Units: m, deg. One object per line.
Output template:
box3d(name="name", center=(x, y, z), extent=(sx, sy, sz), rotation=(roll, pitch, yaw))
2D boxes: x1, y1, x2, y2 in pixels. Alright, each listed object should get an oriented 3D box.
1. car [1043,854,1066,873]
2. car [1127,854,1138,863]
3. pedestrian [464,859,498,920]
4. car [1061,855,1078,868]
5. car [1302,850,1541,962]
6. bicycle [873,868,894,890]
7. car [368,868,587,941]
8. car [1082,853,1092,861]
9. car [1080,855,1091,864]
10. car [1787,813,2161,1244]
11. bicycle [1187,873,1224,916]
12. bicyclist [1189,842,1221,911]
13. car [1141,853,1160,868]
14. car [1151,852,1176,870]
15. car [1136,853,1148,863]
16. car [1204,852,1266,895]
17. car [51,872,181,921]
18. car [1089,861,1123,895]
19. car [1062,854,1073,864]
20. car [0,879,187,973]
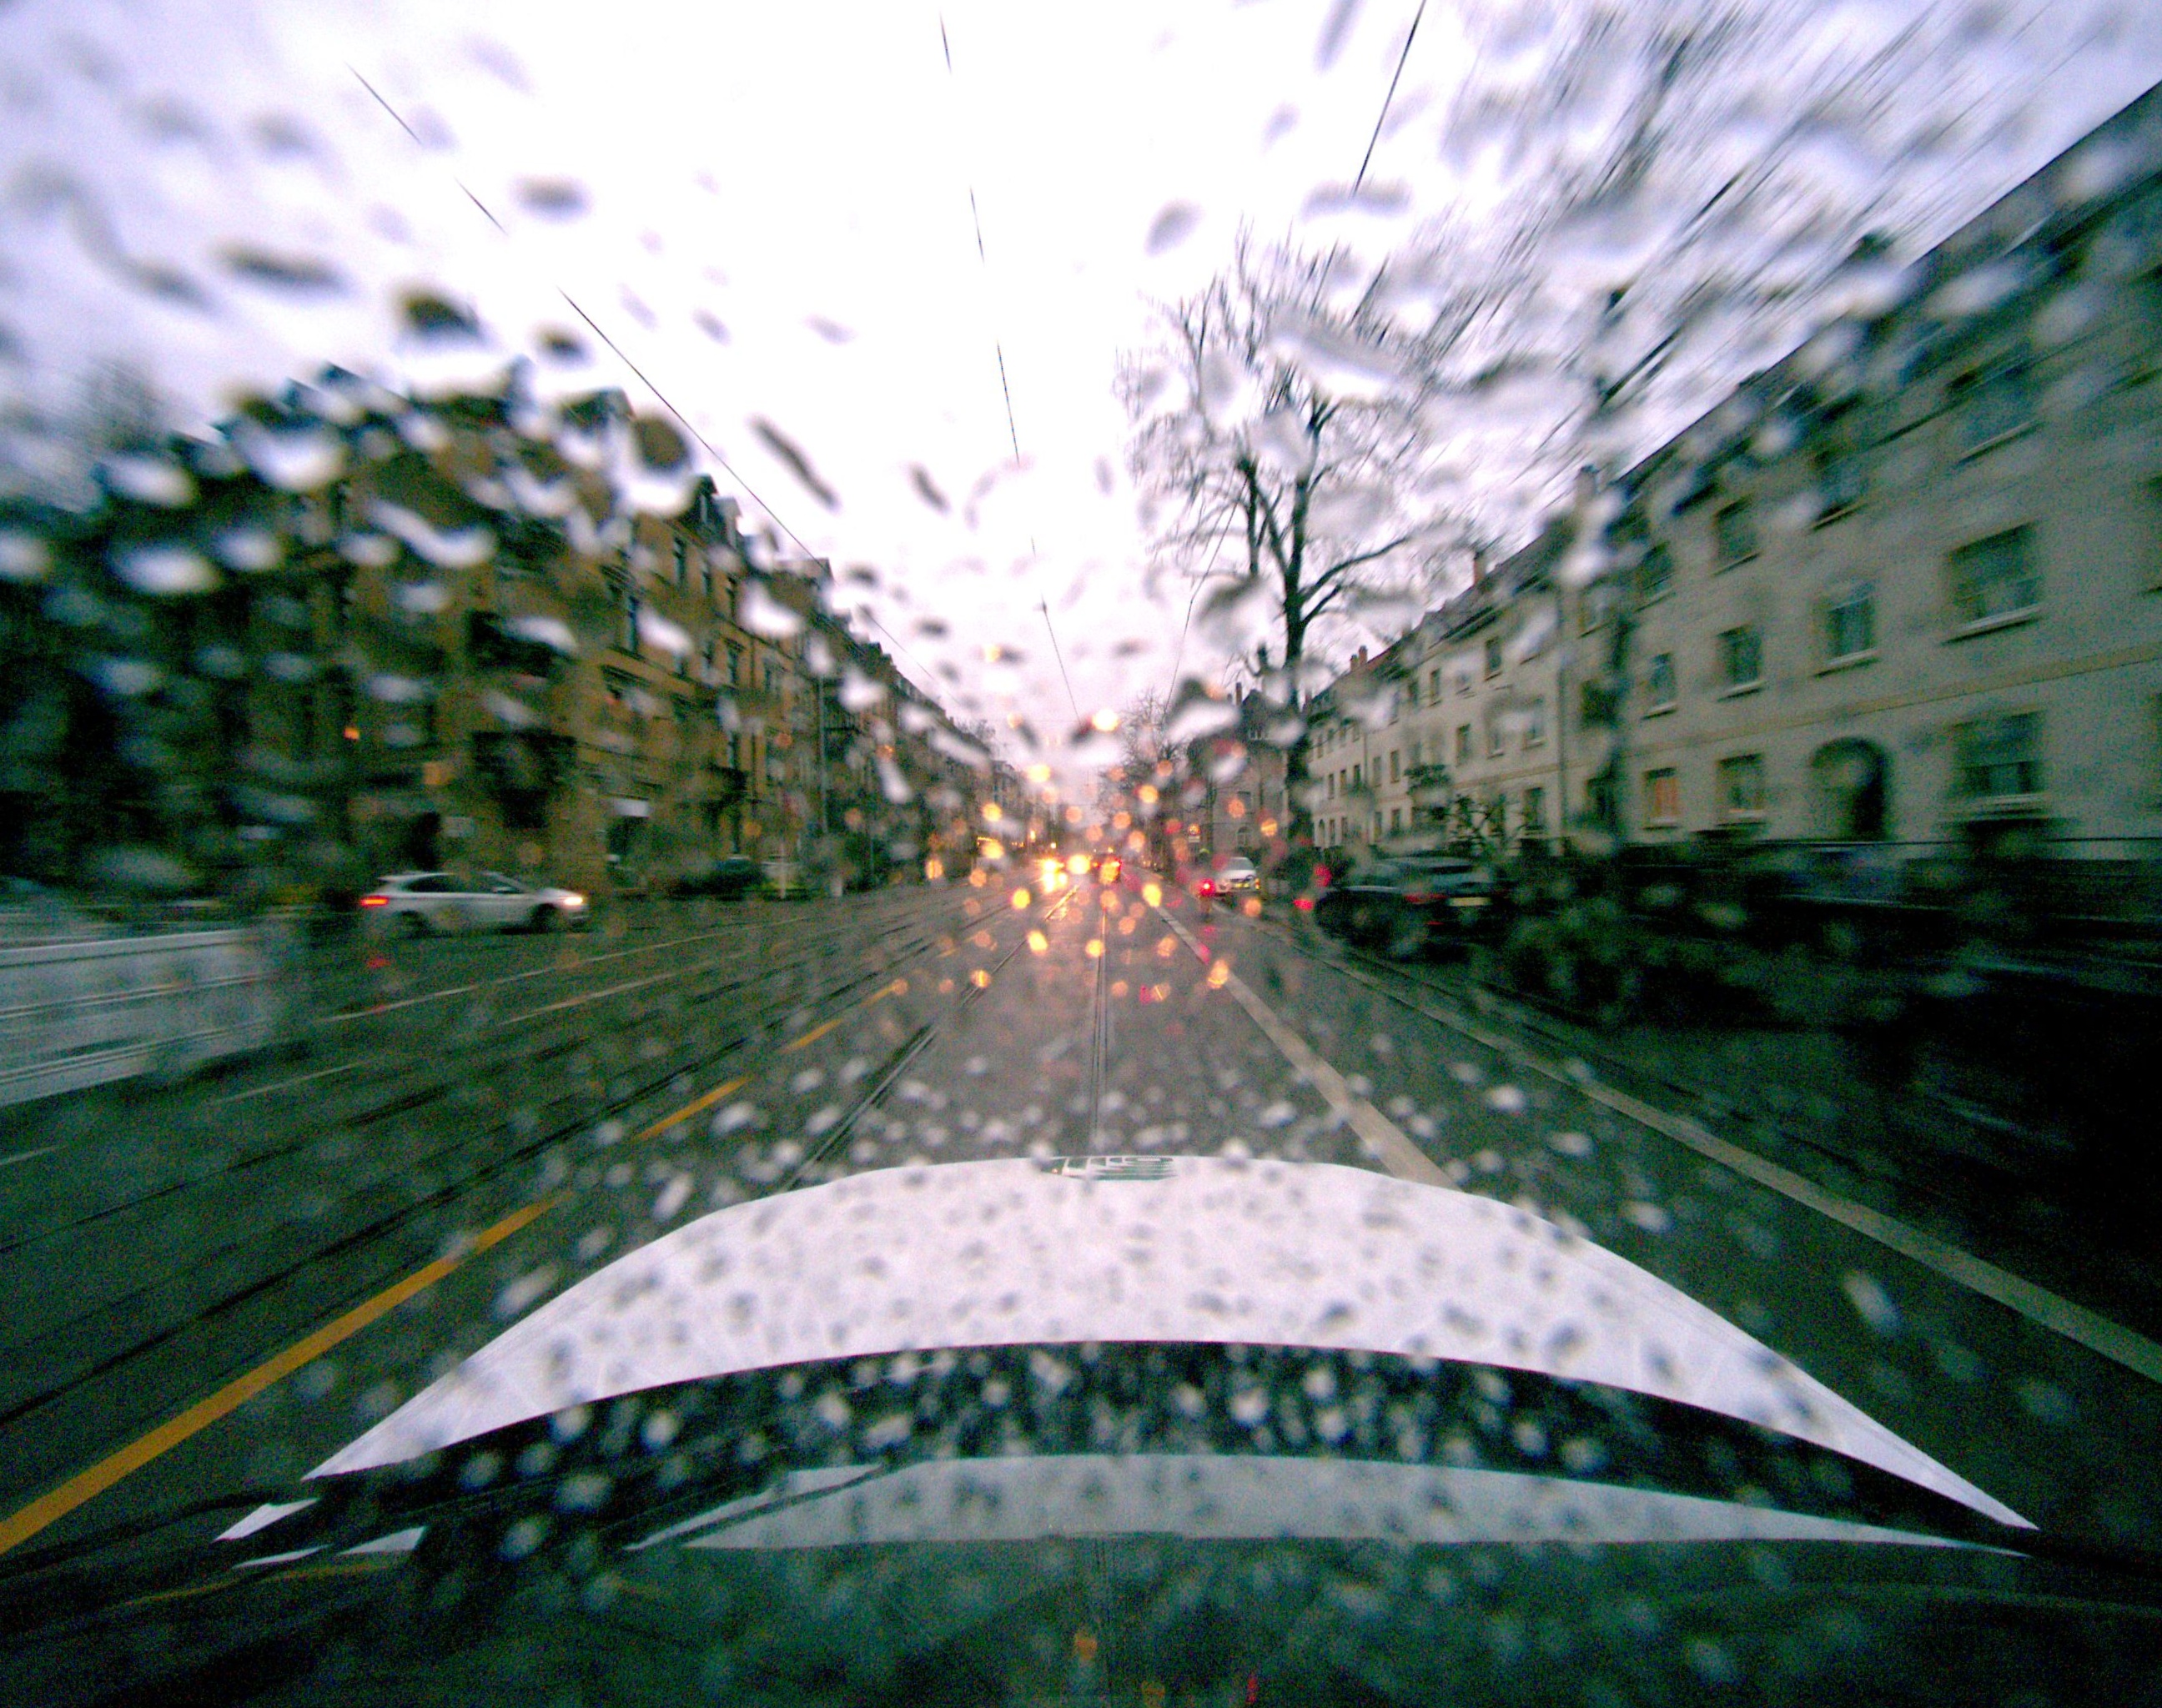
box3d(name="car", center=(-2.494, 0.893, 77.570), extent=(1.916, 1.662, 4.001), rotation=(-1, 0, 2))
box3d(name="car", center=(9.246, 0.836, 146.033), extent=(1.778, 1.509, 4.110), rotation=(-1, 0, 2))
box3d(name="pedestrian", center=(-17.836, 1.036, 24.224), extent=(0.723, 1.773, 0.763), rotation=(-1, 0, -30))
box3d(name="car", center=(-1.486, 0.938, 104.714), extent=(1.916, 1.662, 4.001), rotation=(-1, 0, 2))
box3d(name="car", center=(5.206, 0.703, 13.198), extent=(1.874, 1.420, 4.340), rotation=(-3, 0, -2))
box3d(name="bicycle", center=(-9.480, 1.170, 39.109), extent=(0.494, 1.007, 1.765), rotation=(-1, 0, 3))
box3d(name="car", center=(-14.796, 1.158, 20.274), extent=(4.189, 1.526, 1.979), rotation=(-1, 0, -34))
box3d(name="car", center=(1.263, 0.600, 170.024), extent=(1.916, 1.662, 4.001), rotation=(-1, 0, 2))
box3d(name="car", center=(0.853, 1.008, 151.189), extent=(1.916, 1.662, 4.001), rotation=(-1, 0, 2))
box3d(name="car", center=(4.940, 0.634, 2.417), extent=(1.898, 1.610, 4.565), rotation=(-1, 0, 3))
box3d(name="bicycle", center=(3.160, 1.003, 20.796), extent=(0.728, 1.007, 1.765), rotation=(-1, 0, 3))
box3d(name="bicyclist", center=(3.152, 0.560, 20.788), extent=(0.727, 1.736, 0.766), rotation=(-1, 0, 2))
box3d(name="car", center=(7.443, 0.686, 87.220), extent=(1.778, 1.509, 4.110), rotation=(-1, 0, 2))
box3d(name="car", center=(6.998, 0.585, 69.192), extent=(1.778, 1.509, 4.110), rotation=(-1, 0, 2))
box3d(name="car", center=(9.913, 0.683, 132.902), extent=(1.778, 1.509, 4.110), rotation=(-1, 0, 2))
box3d(name="car", center=(5.826, 0.702, 31.283), extent=(1.778, 1.509, 4.111), rotation=(-1, 0, 3))
box3d(name="car", center=(-32.742, 1.403, 27.636), extent=(3.897, 1.526, 1.768), rotation=(-1, 0, 23))
box3d(name="car", center=(1.554, 1.385, 48.985), extent=(1.793, 1.871, 4.023), rotation=(2, 0, 5))
box3d(name="car", center=(-2.462, 0.912, 149.598), extent=(1.916, 1.720, 4.001), rotation=(-1, 0, 2))
box3d(name="car", center=(-19.175, 1.294, 14.543), extent=(1.706, 1.530, 4.025), rotation=(-1, 0, 29))
